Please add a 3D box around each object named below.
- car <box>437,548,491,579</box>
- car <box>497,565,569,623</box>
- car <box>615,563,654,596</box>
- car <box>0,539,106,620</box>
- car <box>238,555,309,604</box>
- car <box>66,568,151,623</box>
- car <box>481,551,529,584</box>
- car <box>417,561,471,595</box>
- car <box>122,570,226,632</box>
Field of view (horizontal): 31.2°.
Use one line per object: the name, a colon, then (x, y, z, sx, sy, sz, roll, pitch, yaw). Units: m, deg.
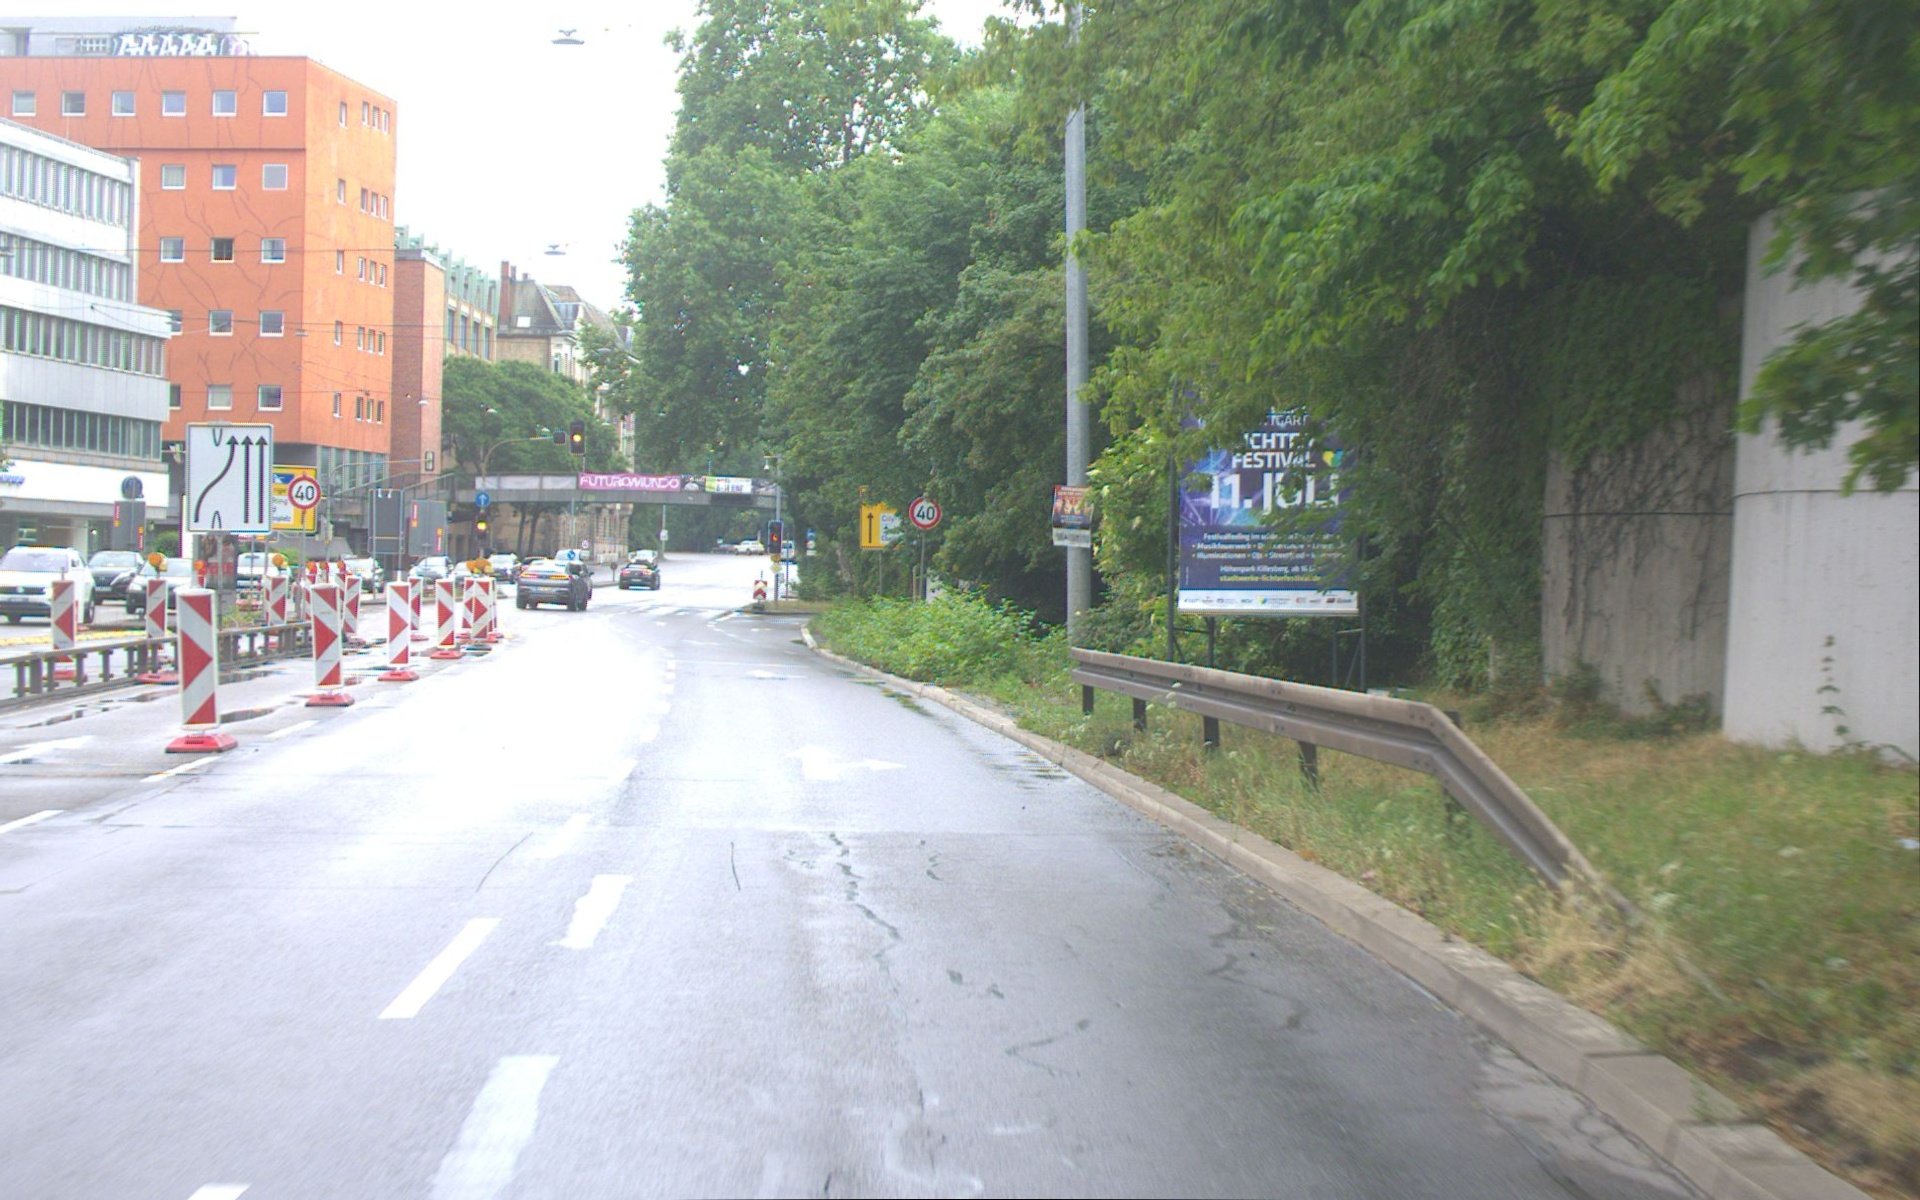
car: (-22.408, -1.636, 155.546, 1.689, 1.350, 4.114, 0, 0, 2)
car: (-14.505, -0.221, 117.028, 2.120, 1.729, 4.199, 3, 1, -4)
car: (-16.867, -1.083, 178.264, 1.763, 1.691, 3.706, 0, 0, -2)
car: (-19.700, -0.450, 73.691, 1.938, 1.684, 4.581, 0, 1, -4)
car: (-24.835, -0.747, 124.494, 1.979, 1.701, 4.832, 1, 0, -5)
car: (-24.342, -0.138, 98.359, 1.710, 1.531, 4.078, 0, 1, -4)
car: (-24.958, -1.762, 188.880, 1.845, 1.731, 4.604, 1, 0, 2)
car: (-24.958, -1.062, 166.326, 1.808, 1.553, 4.301, 1, 0, 1)
car: (-20.393, 0.003, 89.355, 1.958, 1.516, 4.301, 1, 1, -4)
